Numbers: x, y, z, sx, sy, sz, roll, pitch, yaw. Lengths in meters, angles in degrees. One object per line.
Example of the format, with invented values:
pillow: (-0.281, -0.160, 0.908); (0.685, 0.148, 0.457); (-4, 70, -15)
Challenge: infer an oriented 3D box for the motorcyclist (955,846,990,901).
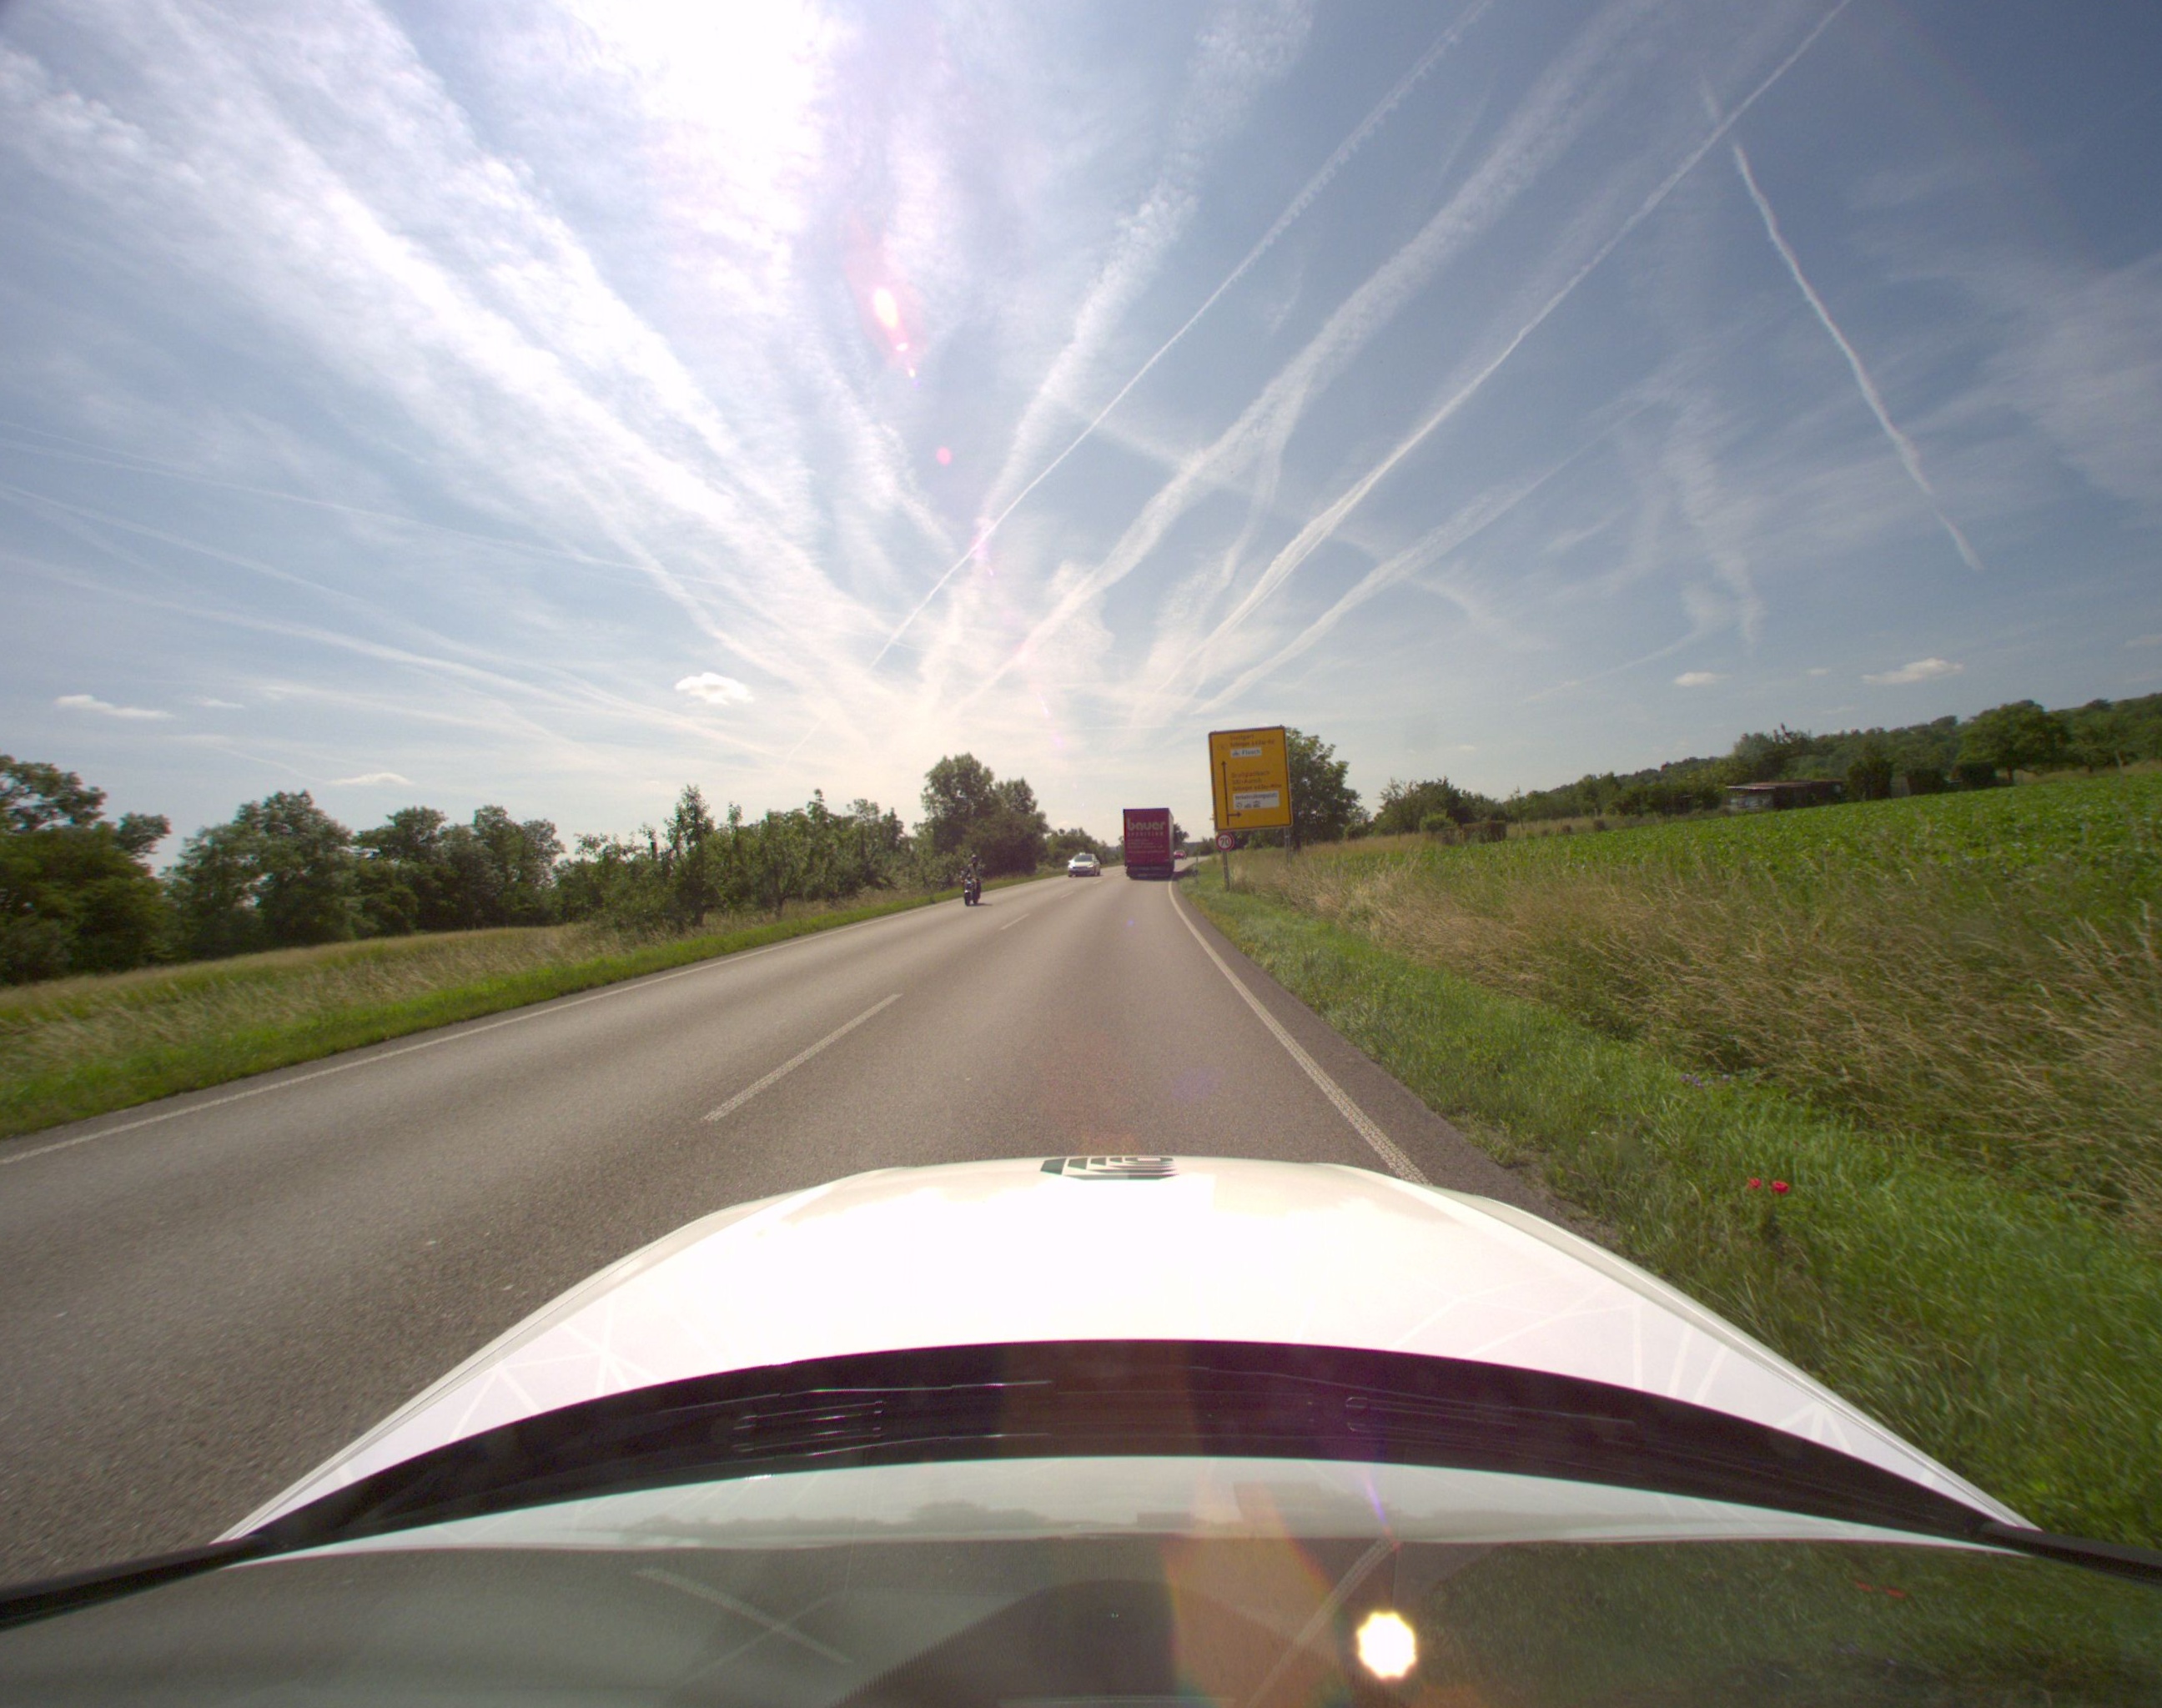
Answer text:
motorcyclist: (-3.495, 0.630, 26.349); (0.915, 1.718, 0.963); (-2, -1, 2)

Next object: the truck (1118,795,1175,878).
truck: (3.971, -0.907, 50.472); (3.098, 4.506, 12.179); (0, -1, 4)

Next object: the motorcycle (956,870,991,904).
motorcycle: (-3.465, 1.052, 26.435); (0.754, 0.994, 2.280); (-2, 0, 1)

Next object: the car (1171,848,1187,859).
car: (14.701, -0.085, 121.898); (1.807, 1.398, 4.198); (-2, 1, 14)

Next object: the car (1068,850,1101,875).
car: (0.255, 0.553, 54.006); (1.782, 1.522, 4.166); (-2, 0, 5)

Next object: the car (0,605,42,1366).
car: (-4.452, 0.430, 0.112); (2.162, 2.303, 4.909); (-2, 0, 2)
